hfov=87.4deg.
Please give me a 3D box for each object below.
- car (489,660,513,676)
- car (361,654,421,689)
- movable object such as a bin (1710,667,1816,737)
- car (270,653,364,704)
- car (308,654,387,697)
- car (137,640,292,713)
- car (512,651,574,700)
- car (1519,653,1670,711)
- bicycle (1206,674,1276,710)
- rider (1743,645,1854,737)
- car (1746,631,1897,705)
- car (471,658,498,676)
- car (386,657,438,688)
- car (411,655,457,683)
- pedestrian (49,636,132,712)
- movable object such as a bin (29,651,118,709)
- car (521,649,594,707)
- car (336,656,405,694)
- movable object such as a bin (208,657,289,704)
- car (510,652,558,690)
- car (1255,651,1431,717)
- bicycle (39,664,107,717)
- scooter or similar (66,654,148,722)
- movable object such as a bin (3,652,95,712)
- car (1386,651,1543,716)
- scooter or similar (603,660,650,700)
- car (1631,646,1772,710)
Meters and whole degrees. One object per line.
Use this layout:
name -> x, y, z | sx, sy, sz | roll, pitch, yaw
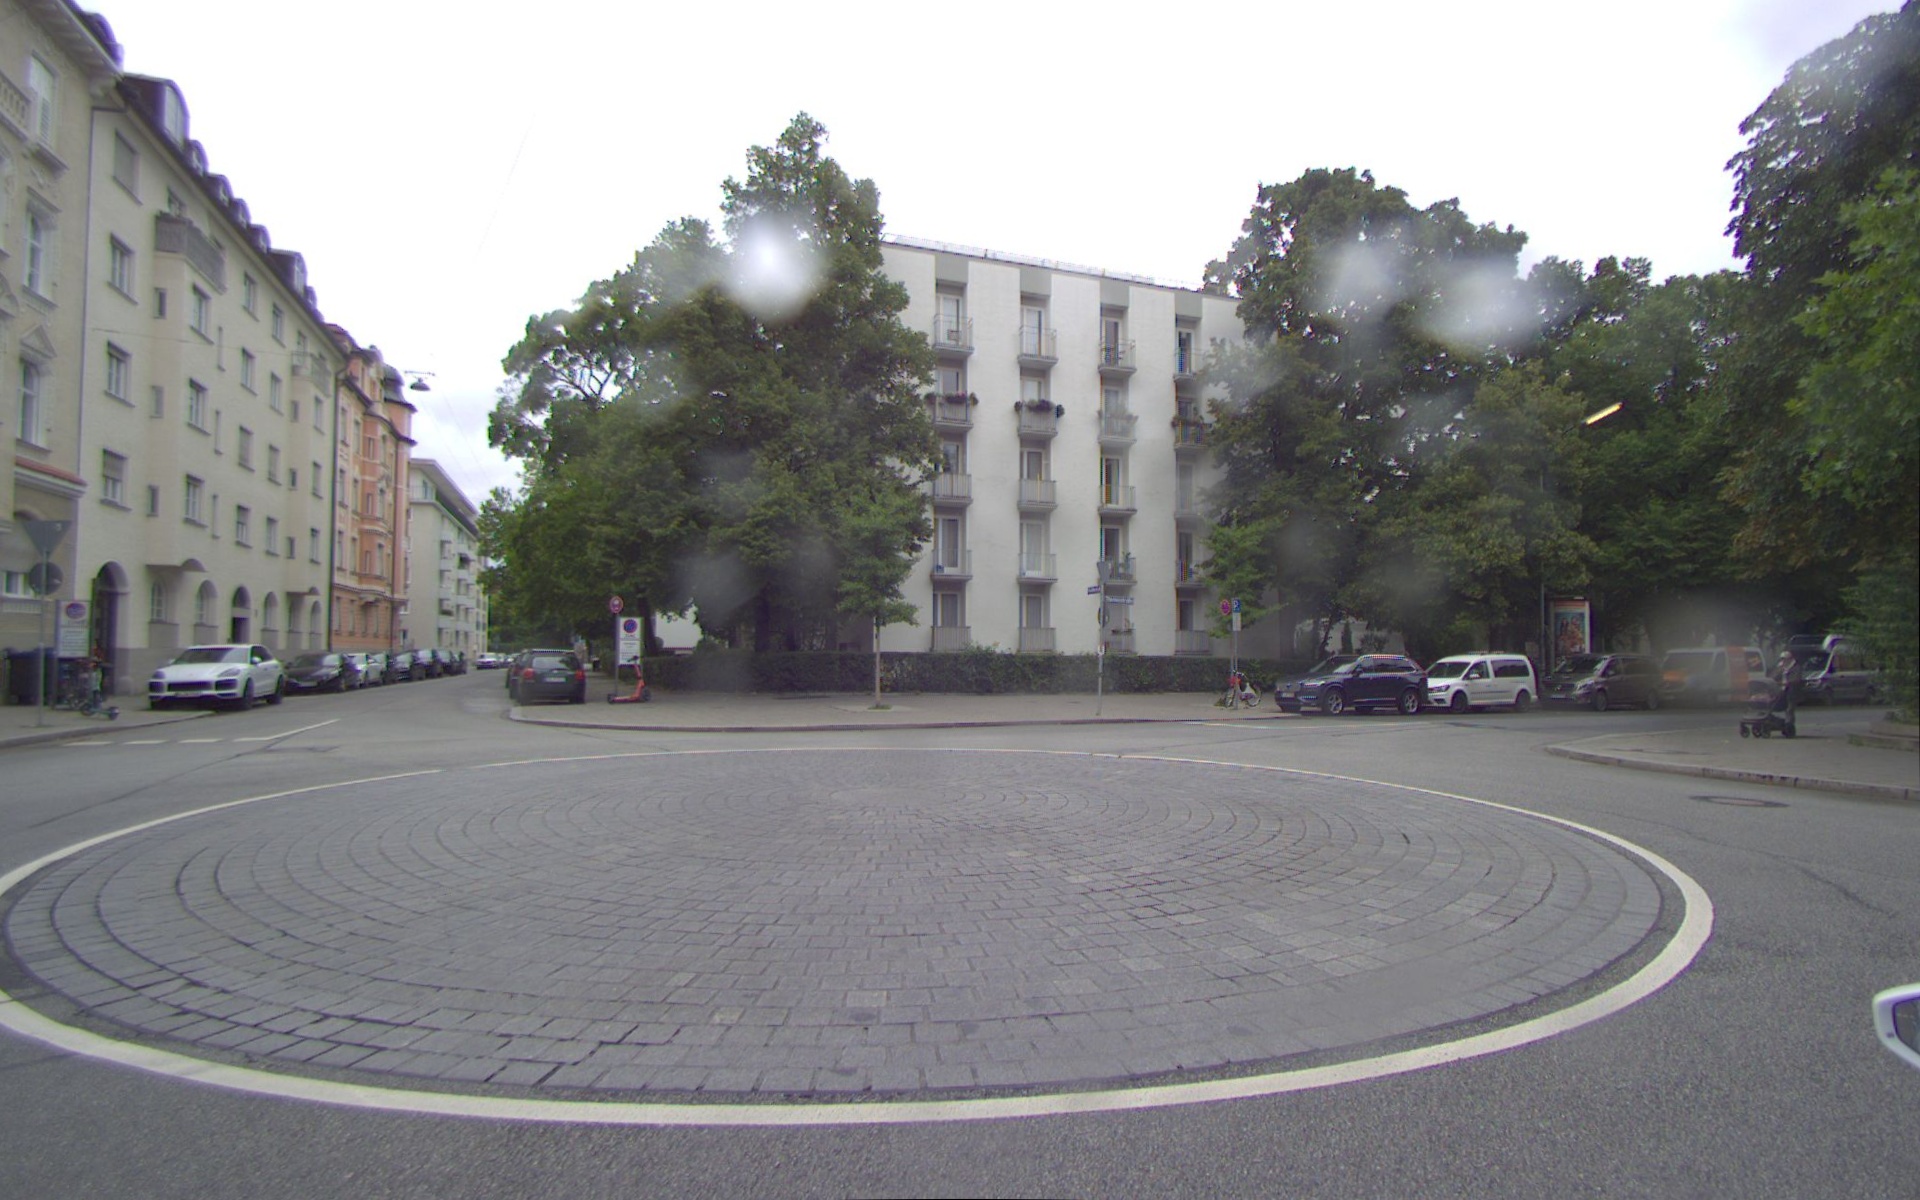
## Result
car -> -47.930, 7.059, 104.933 | 1.971, 1.616, 4.192 | 2, -3, -21
car -> -28.345, 3.541, 50.170 | 1.971, 1.616, 4.192 | 2, -3, -21
movable object such as a bin -> 15.178, 1.922, 19.012 | 1.068, 1.283, 1.080 | 1, -5, -12
car -> -22.986, 2.765, 36.074 | 1.971, 1.713, 4.192 | 2, -3, -21
car -> -24.711, 3.017, 40.672 | 1.971, 1.616, 4.192 | 2, -3, -21
car -> -19.279, 1.936, 26.236 | 1.971, 1.713, 4.787 | 2, -3, -21
car -> -14.023, 2.483, 33.687 | 1.752, 1.538, 4.012 | 2, -3, -24
car -> 21.896, 2.788, 34.640 | 4.919, 1.883, 2.060 | 2, -3, -25
bicycle -> 8.627, 2.810, 30.820 | 1.944, 1.065, 0.909 | 2, -3, -24
rider -> 16.016, 1.740, 19.213 | 1.119, 1.688, 1.084 | 1, -5, -12
car -> 36.363, 2.880, 42.391 | 6.489, 2.960, 2.329 | 2, -3, -25
car -> -45.332, 6.405, 95.775 | 1.971, 1.616, 4.192 | 2, -3, -21
car -> -30.234, 4.005, 55.532 | 1.971, 1.616, 4.192 | 2, -3, -21
car -> -31.937, 4.194, 61.077 | 1.971, 1.616, 4.192 | 2, -3, -21
pedestrian -> -21.700, 1.838, 25.117 | 1.115, 1.828, 1.266 | 1, -3, -20
movable object such as a bin -> -23.460, 2.106, 26.615 | 1.325, 1.476, 1.291 | 1, -3, -20
car -> -11.639, 2.204, 28.921 | 1.752, 1.538, 4.012 | 2, -3, -24
car -> -26.718, 3.395, 45.660 | 1.971, 1.616, 4.192 | 2, -3, -21
movable object such as a bin -> -21.228, 2.395, 30.024 | 1.538, 1.367, 1.531 | 2, -3, -20
car -> -18.264, 3.013, 42.979 | 1.752, 1.538, 4.012 | 2, -3, -24
car -> 11.206, 2.427, 29.370 | 4.840, 1.790, 2.060 | 2, -3, -25
bicycle -> -20.495, 2.064, 23.243 | 0.542, 1.165, 1.836 | 2, -3, -22
scooter or similar -> -18.113, 1.850, 21.334 | 1.329, 1.413, 0.709 | -1, -3, 20
movable object such as a bin -> -22.994, 2.060, 25.391 | 1.325, 1.476, 1.158 | 1, -3, -20
car -> 15.992, 2.620, 31.807 | 4.803, 1.919, 1.920 | 2, -3, -26
scooter or similar -> -9.012, 2.160, 27.154 | 1.130, 1.038, 0.375 | 3, -4, -34
car -> 28.134, 2.938, 38.107 | 5.124, 2.280, 2.105 | 2, -3, -25
